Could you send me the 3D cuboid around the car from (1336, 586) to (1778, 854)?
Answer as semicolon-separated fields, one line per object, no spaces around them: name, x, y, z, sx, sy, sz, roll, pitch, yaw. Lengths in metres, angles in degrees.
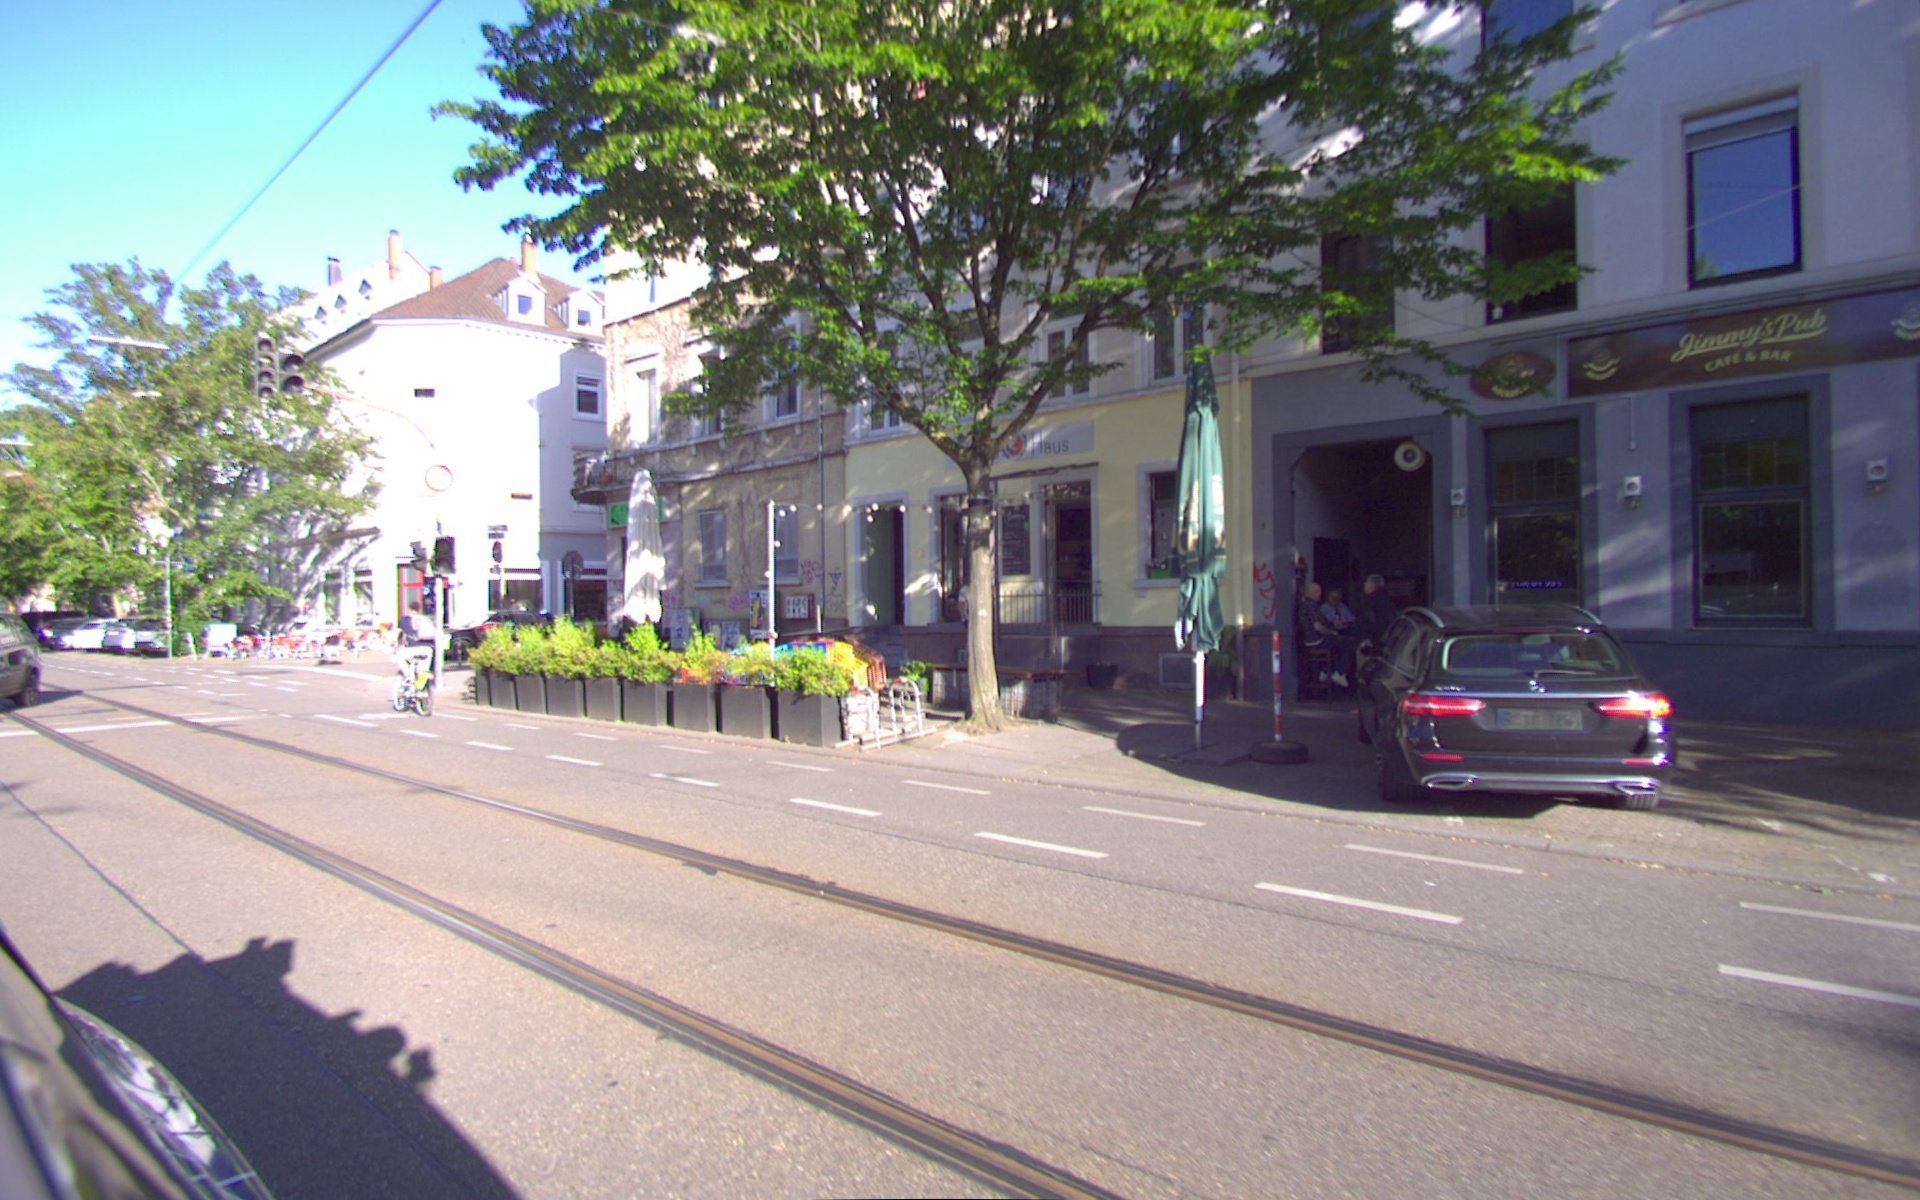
car;4.306;0.692;8.092;1.762;1.569;3.987;-1;1;11

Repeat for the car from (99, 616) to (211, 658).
car;-32.291;1.452;40.648;1.496;1.464;3.293;1;2;42

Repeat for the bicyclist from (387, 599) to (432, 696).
bicyclist;-8.577;0.730;15.774;0.590;1.482;0.414;-1;-2;38

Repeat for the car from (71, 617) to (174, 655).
car;-36.446;1.523;44.092;1.496;1.464;3.293;1;2;43

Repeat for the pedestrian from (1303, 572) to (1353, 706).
pedestrian;5.116;0.536;14.070;0.509;1.825;0.482;-1;-2;37

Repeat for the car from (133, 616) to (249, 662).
car;-28.533;1.410;37.585;3.289;1.464;1.498;-2;2;-43

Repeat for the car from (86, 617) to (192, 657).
car;-34.497;1.526;42.583;1.496;1.464;3.293;1;2;43

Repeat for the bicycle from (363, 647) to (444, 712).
bicycle;-8.748;1.229;15.890;1.755;0.943;0.446;-1;-2;37

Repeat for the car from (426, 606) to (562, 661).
car;-16.093;1.129;34.978;3.935;1.763;2.004;1;-2;-37

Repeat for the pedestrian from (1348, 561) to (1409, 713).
pedestrian;5.395;0.465;13.038;0.591;1.900;0.449;-2;-2;41

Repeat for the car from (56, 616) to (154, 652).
car;-39.470;1.552;46.759;1.496;1.464;3.293;1;2;43

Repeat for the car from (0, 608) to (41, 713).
car;-15.647;0.958;15.234;1.721;1.634;4.183;-1;-1;-29

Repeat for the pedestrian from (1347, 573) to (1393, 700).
pedestrian;6.039;0.527;14.905;0.509;1.825;0.482;-1;-2;37
